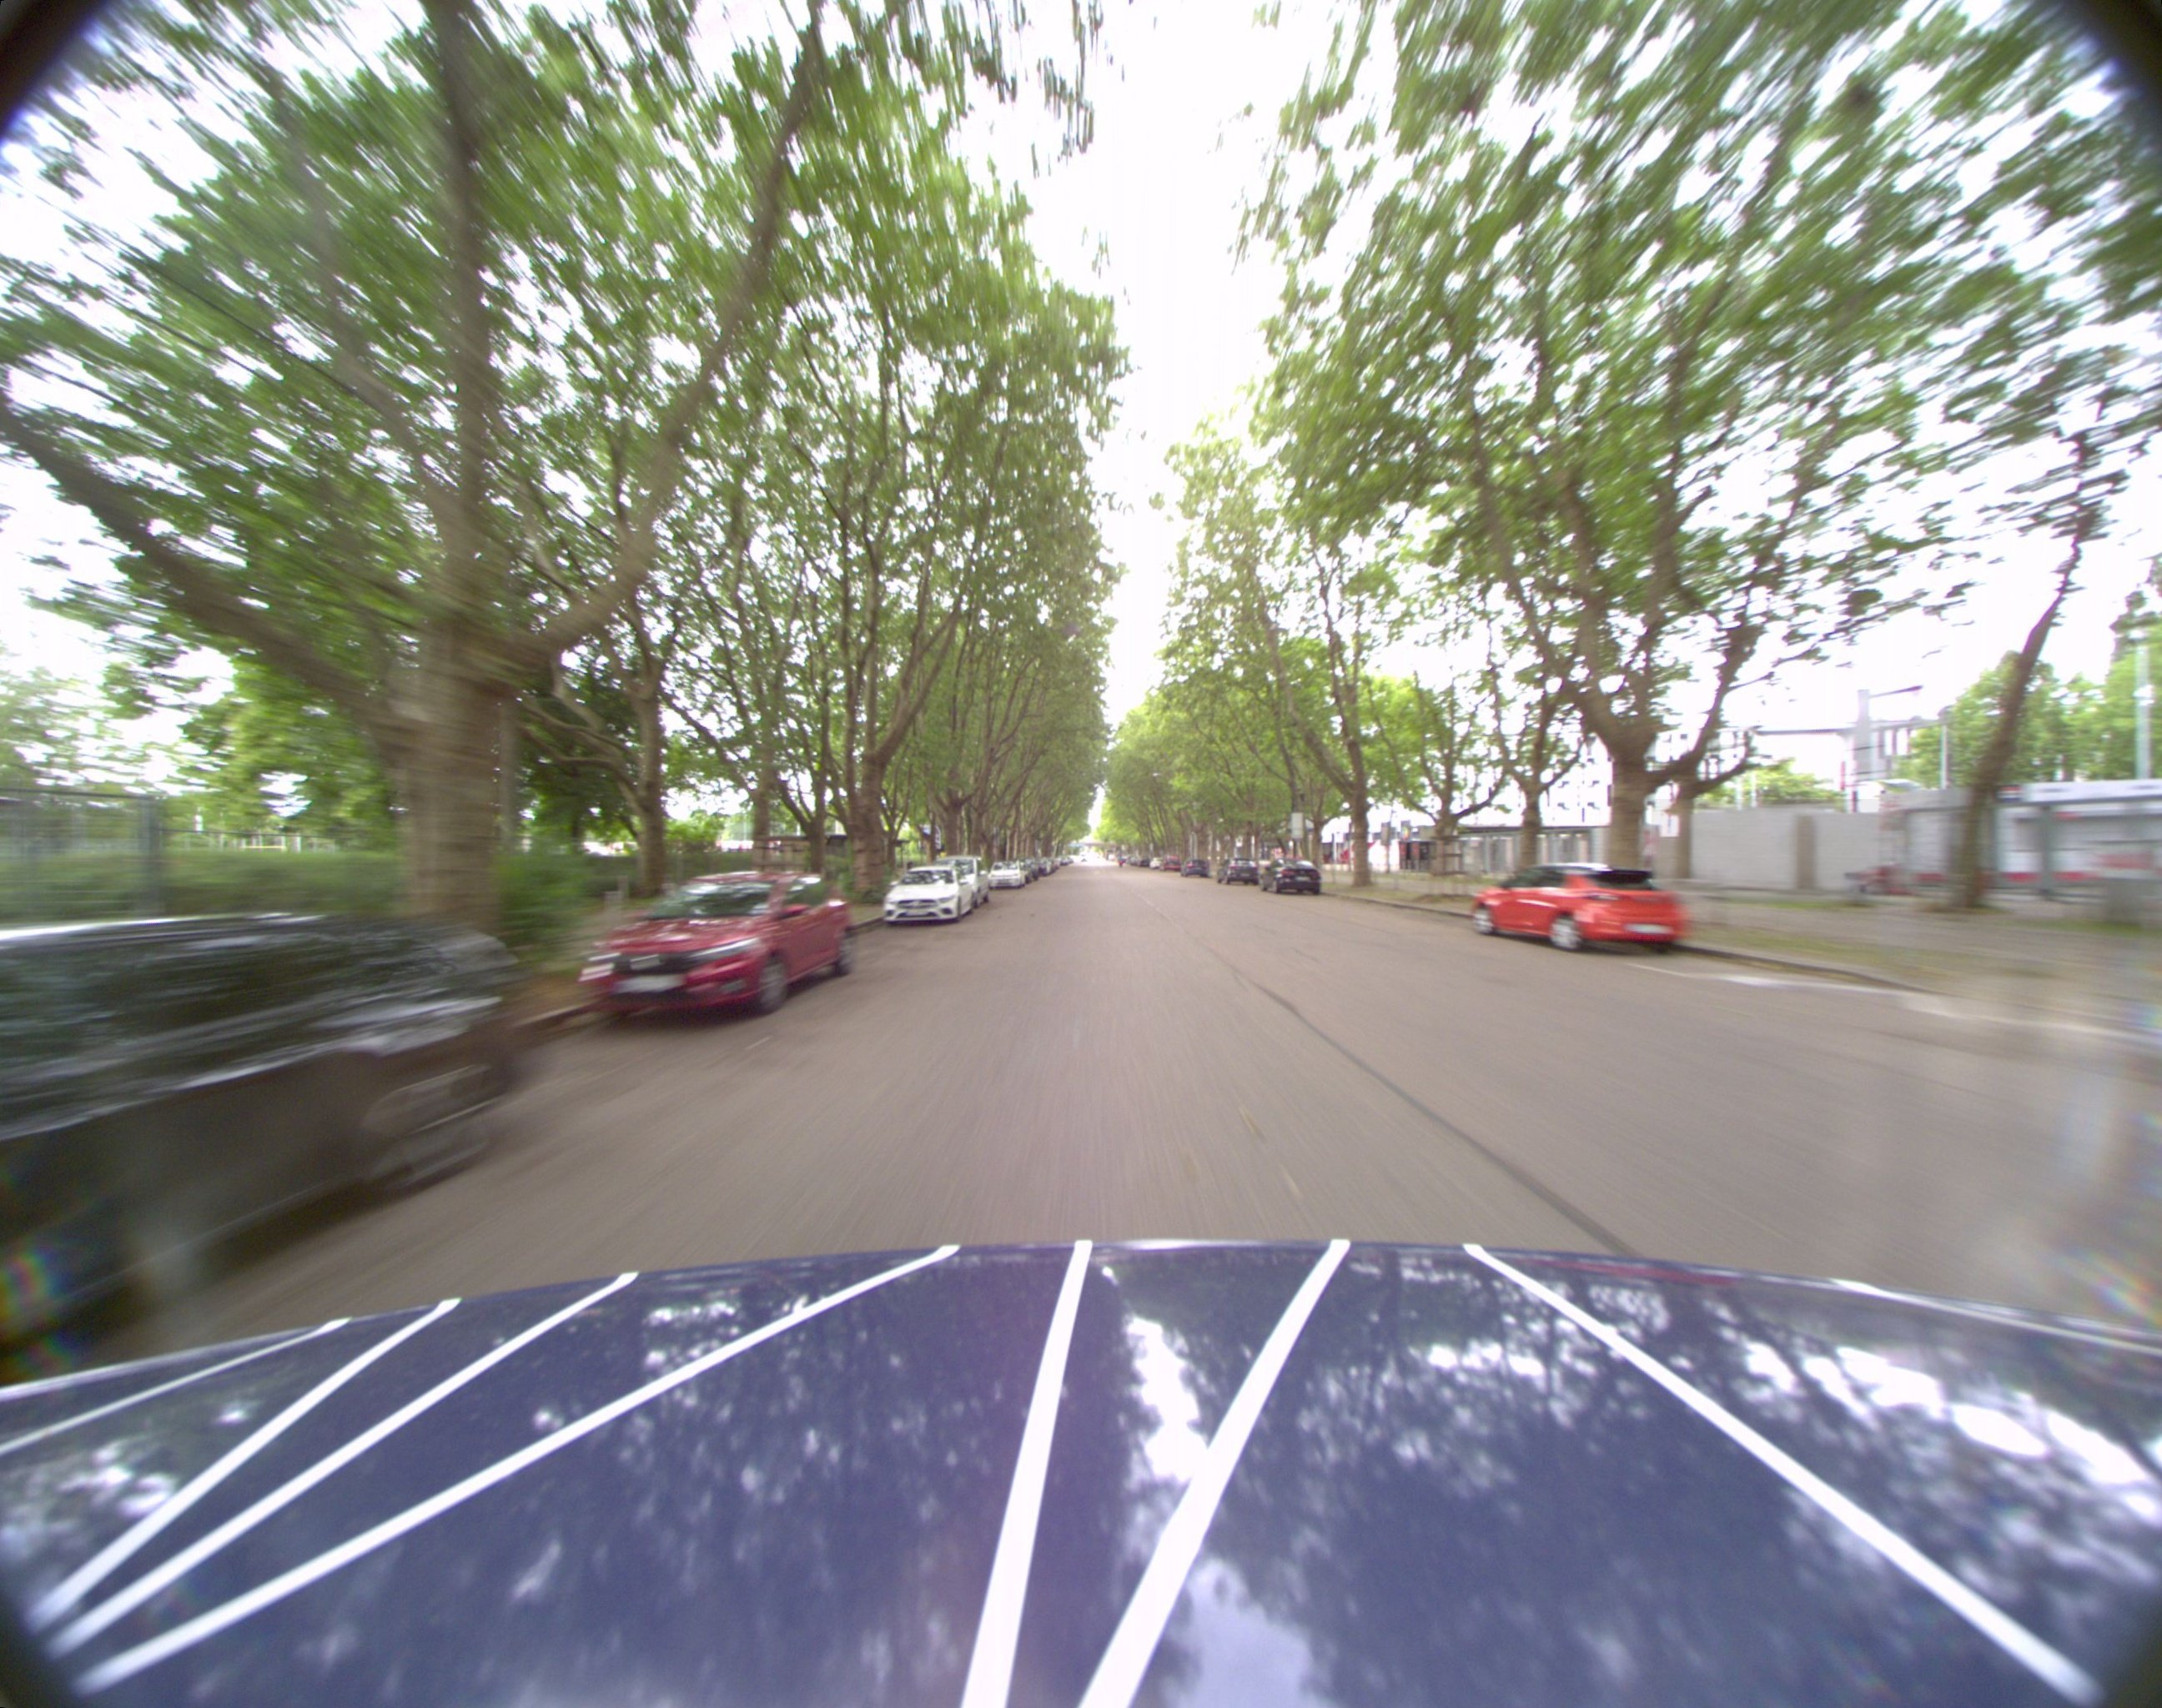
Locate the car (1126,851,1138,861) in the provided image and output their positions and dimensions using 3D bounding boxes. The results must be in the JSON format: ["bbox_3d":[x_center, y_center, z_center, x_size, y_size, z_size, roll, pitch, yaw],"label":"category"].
[{"bbox_3d":[9.749,0.316,145.502,1.900,1.785,4.612,2,0,0],"label":"car"}]

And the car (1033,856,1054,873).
[{"bbox_3d":[-3.483,0.963,70.775,1.620,1.433,3.710,-3,0,1],"label":"car"}]

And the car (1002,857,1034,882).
[{"bbox_3d":[-3.825,0.918,46.731,1.712,1.407,4.360,-1,0,-2],"label":"car"}]

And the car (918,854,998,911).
[{"bbox_3d":[-4.075,0.876,25.911,1.907,1.728,4.506,-1,0,1],"label":"car"}]

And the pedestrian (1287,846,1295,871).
[{"bbox_3d":[15.003,0.348,54.271,0.577,1.759,0.768,-1,1,15],"label":"pedestrian"}]

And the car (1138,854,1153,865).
[{"bbox_3d":[9.325,0.759,110.374,1.838,1.486,4.442,3,0,1],"label":"car"}]

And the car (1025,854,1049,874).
[{"bbox_3d":[-3.730,0.817,65.466,1.782,1.663,4.637,-1,0,0],"label":"car"}]

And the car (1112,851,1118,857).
[{"bbox_3d":[11.374,0.013,256.068,2.064,1.950,5.466,0,0,2],"label":"car"}]

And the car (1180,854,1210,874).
[{"bbox_3d":[9.010,0.786,60.507,1.729,1.477,4.574,-1,0,1],"label":"car"}]

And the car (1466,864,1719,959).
[{"bbox_3d":[8.662,0.887,13.367,1.813,1.346,4.000,-1,0,1],"label":"car"}]

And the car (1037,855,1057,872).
[{"bbox_3d":[-3.370,0.926,76.271,1.672,1.500,4.353,-2,0,1],"label":"car"}]

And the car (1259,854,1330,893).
[{"bbox_3d":[8.736,0.757,31.510,1.831,1.457,4.628,1,0,3],"label":"car"}]

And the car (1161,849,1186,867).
[{"bbox_3d":[9.492,0.361,78.500,1.954,1.740,4.638,1,0,0],"label":"car"}]

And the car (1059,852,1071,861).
[{"bbox_3d":[-2.775,0.496,131.085,1.998,1.469,4.371,-2,0,0],"label":"car"}]

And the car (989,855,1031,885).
[{"bbox_3d":[-3.654,0.805,39.763,1.711,1.419,3.889,-2,0,1],"label":"car"}]

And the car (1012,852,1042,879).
[{"bbox_3d":[-3.682,0.766,52.479,1.712,1.688,4.630,-2,0,-1],"label":"car"}]

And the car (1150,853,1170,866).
[{"bbox_3d":[9.521,0.650,92.350,1.909,1.394,4.751,2,0,1],"label":"car"}]

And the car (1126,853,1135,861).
[{"bbox_3d":[10.357,0.709,160.090,1.822,1.584,4.345,2,0,2],"label":"car"}]

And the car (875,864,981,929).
[{"bbox_3d":[-3.921,1.038,20.215,1.882,1.419,4.585,-1,0,0],"label":"car"}]

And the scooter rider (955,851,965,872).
[{"bbox_3d":[-10.407,0.646,65.274,0.678,1.789,0.587,1,0,1],"label":"scooter rider"}]

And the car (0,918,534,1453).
[{"bbox_3d":[-4.196,1.103,2.204,1.881,1.419,4.479,-1,0,1],"label":"car"}]

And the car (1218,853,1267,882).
[{"bbox_3d":[9.018,0.725,42.755,1.882,1.518,4.151,0,0,1],"label":"car"}]

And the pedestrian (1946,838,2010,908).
[{"bbox_3d":[20.397,0.423,17.283,0.669,1.535,0.660,-1,1,1],"label":"pedestrian"}]

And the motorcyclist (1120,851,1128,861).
[{"bbox_3d":[6.016,0.301,106.414,0.872,1.471,1.265,-1,0,-3],"label":"motorcyclist"}]

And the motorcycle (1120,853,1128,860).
[{"bbox_3d":[6.025,0.351,106.454,0.875,1.073,3.052,-1,0,-3],"label":"motorcycle"}]

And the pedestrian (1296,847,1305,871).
[{"bbox_3d":[15.621,0.361,54.127,0.575,1.732,0.768,-1,1,15],"label":"pedestrian"}]

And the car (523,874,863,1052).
[{"bbox_3d":[-4.146,1.057,9.043,1.861,1.473,4.177,-1,0,0],"label":"car"}]
